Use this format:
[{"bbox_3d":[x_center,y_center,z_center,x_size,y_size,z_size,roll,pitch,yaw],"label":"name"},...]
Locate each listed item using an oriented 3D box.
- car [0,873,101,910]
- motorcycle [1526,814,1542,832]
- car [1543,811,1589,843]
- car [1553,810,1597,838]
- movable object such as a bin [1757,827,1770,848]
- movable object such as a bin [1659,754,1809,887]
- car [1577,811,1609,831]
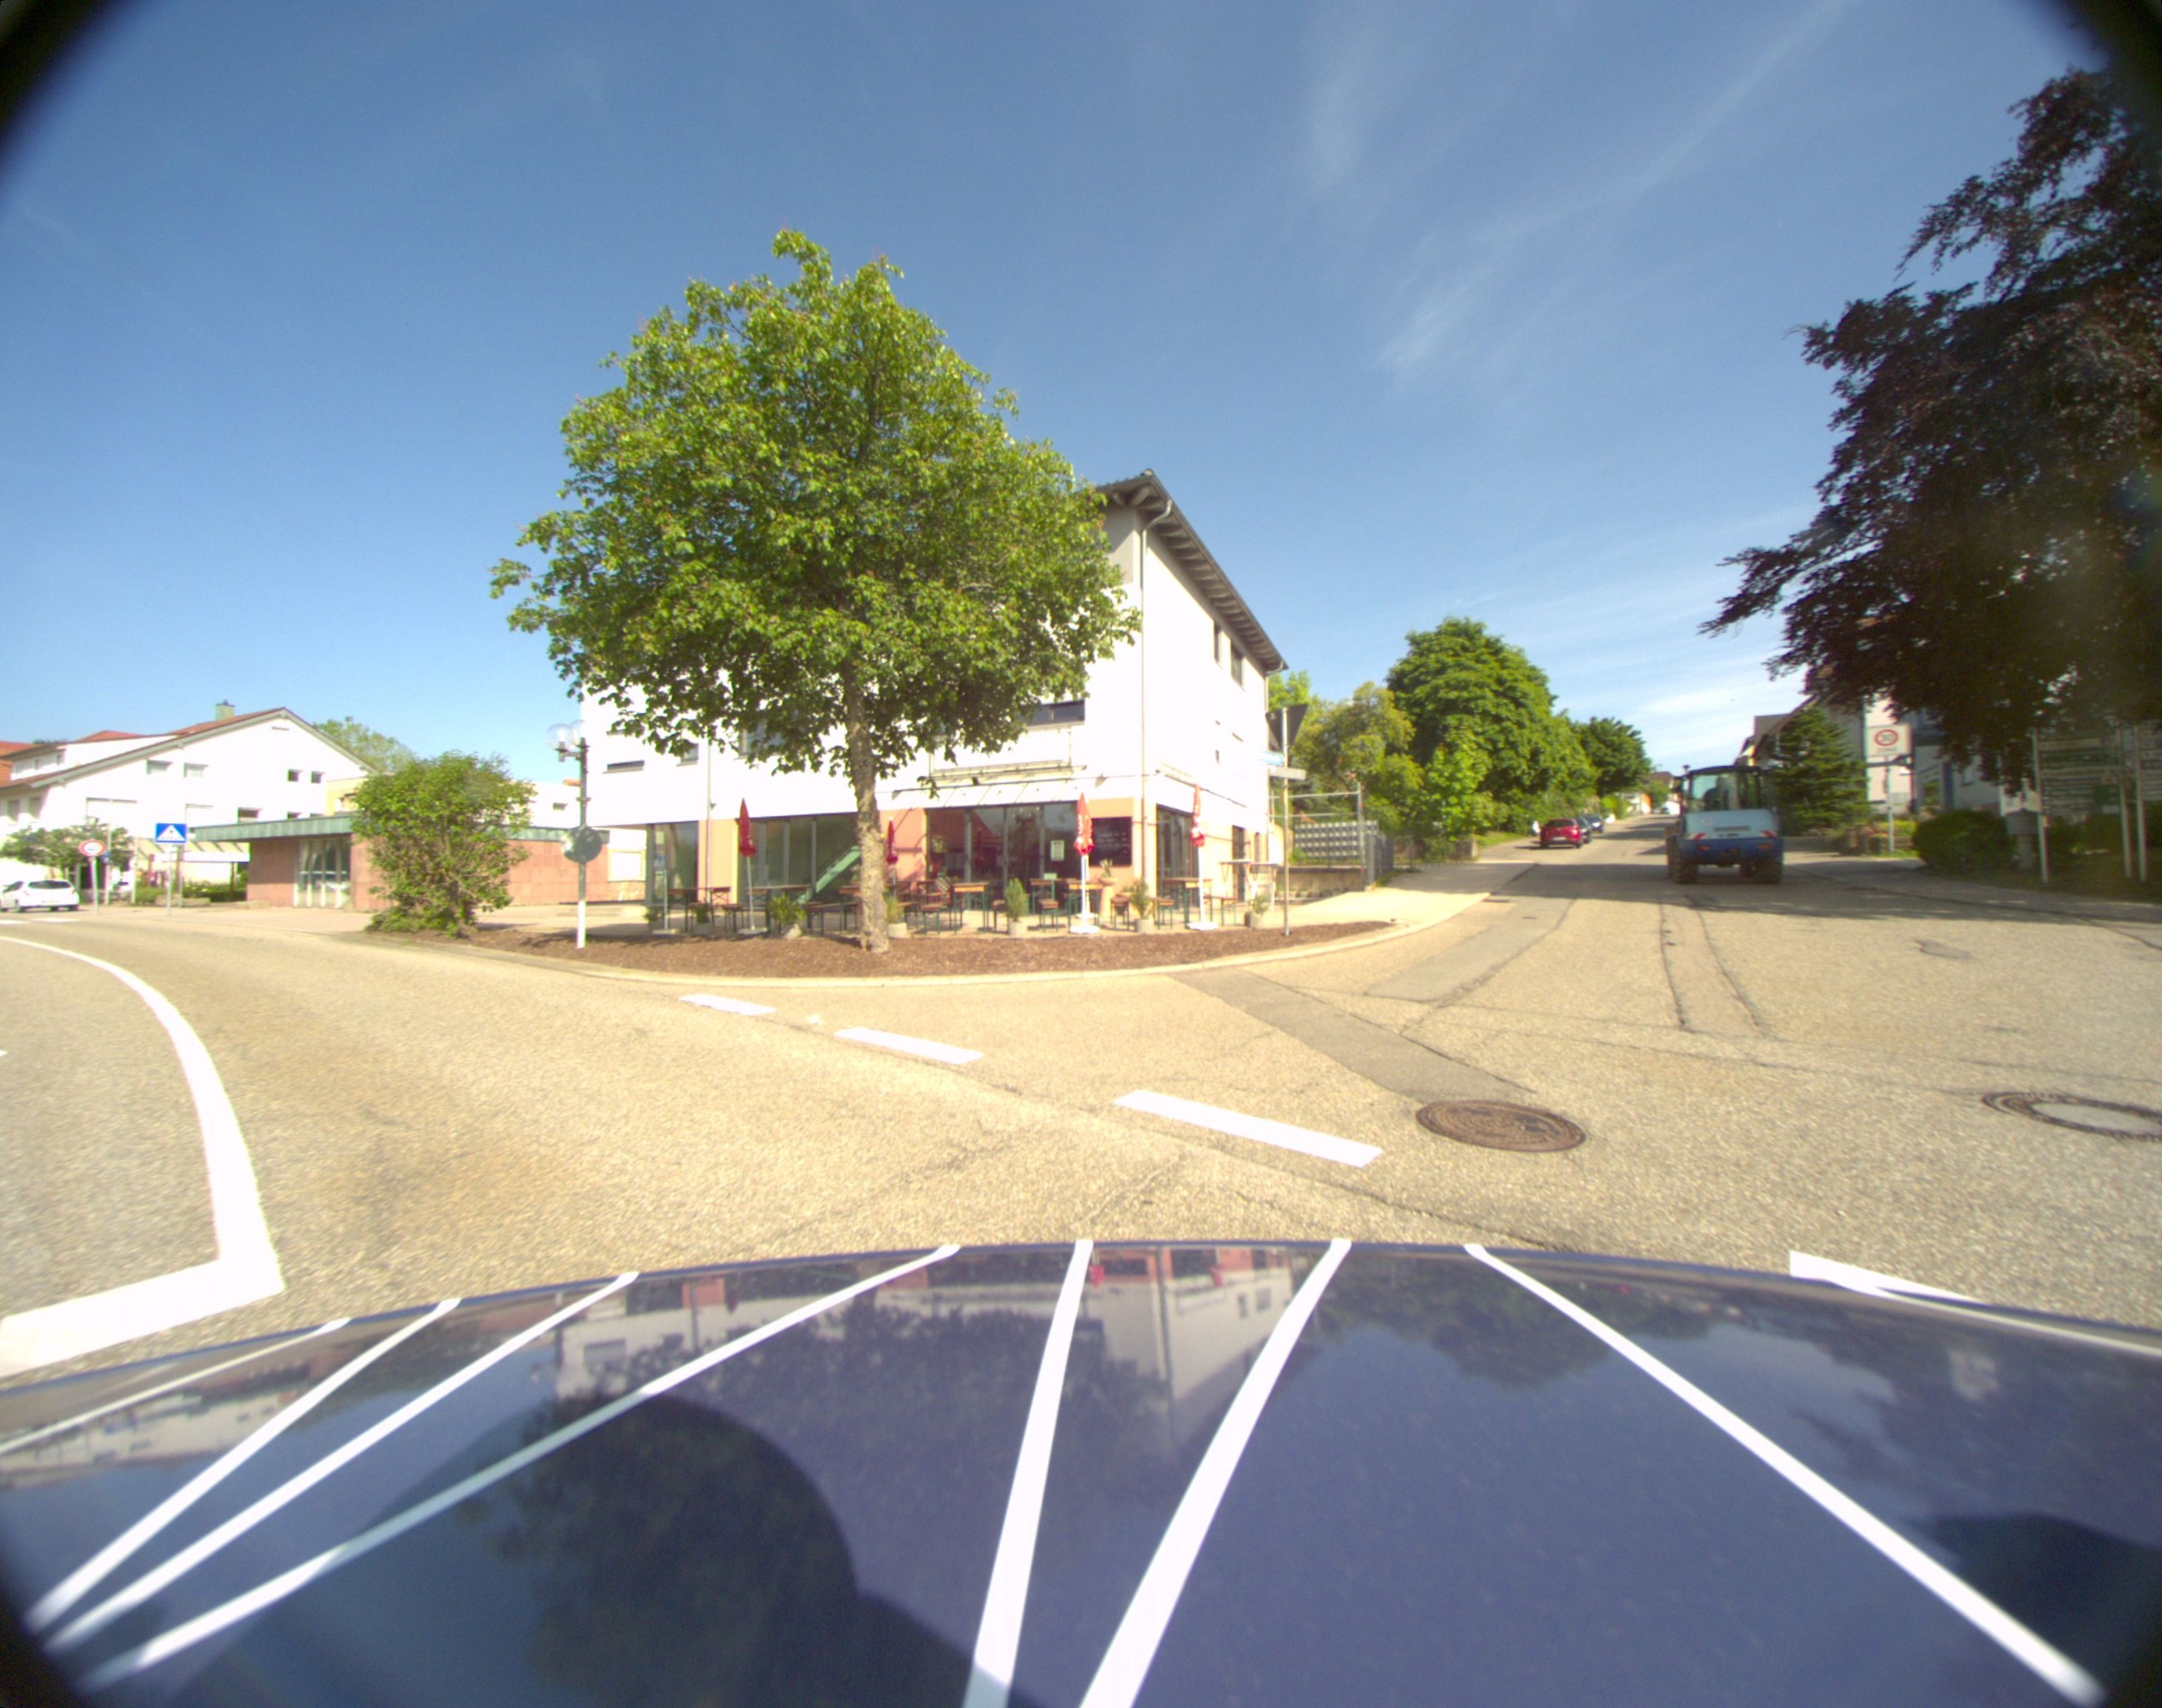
[{"bbox_3d":[-45.976,1.674,33.911,3.705,1.460,1.778,-1,2,23],"label":"car"},{"bbox_3d":[30.708,-2.114,51.463,0.783,1.175,2.192,0,3,35],"label":"motorcycle"},{"bbox_3d":[24.107,-1.373,37.723,1.620,1.490,3.817,0,2,37],"label":"car"},{"bbox_3d":[27.488,-1.671,42.213,1.771,1.462,3.817,0,2,37],"label":"car"},{"bbox_3d":[27.966,-0.688,31.137,0.350,0.859,0.396,0,3,38],"label":"movable object such as a bin"},{"bbox_3d":[15.512,-0.837,18.356,1.994,2.754,5.112,0,4,32],"label":"movable object such as a bin"},{"bbox_3d":[38.505,-2.494,57.133,1.771,1.462,3.817,0,2,37],"label":"car"}]
